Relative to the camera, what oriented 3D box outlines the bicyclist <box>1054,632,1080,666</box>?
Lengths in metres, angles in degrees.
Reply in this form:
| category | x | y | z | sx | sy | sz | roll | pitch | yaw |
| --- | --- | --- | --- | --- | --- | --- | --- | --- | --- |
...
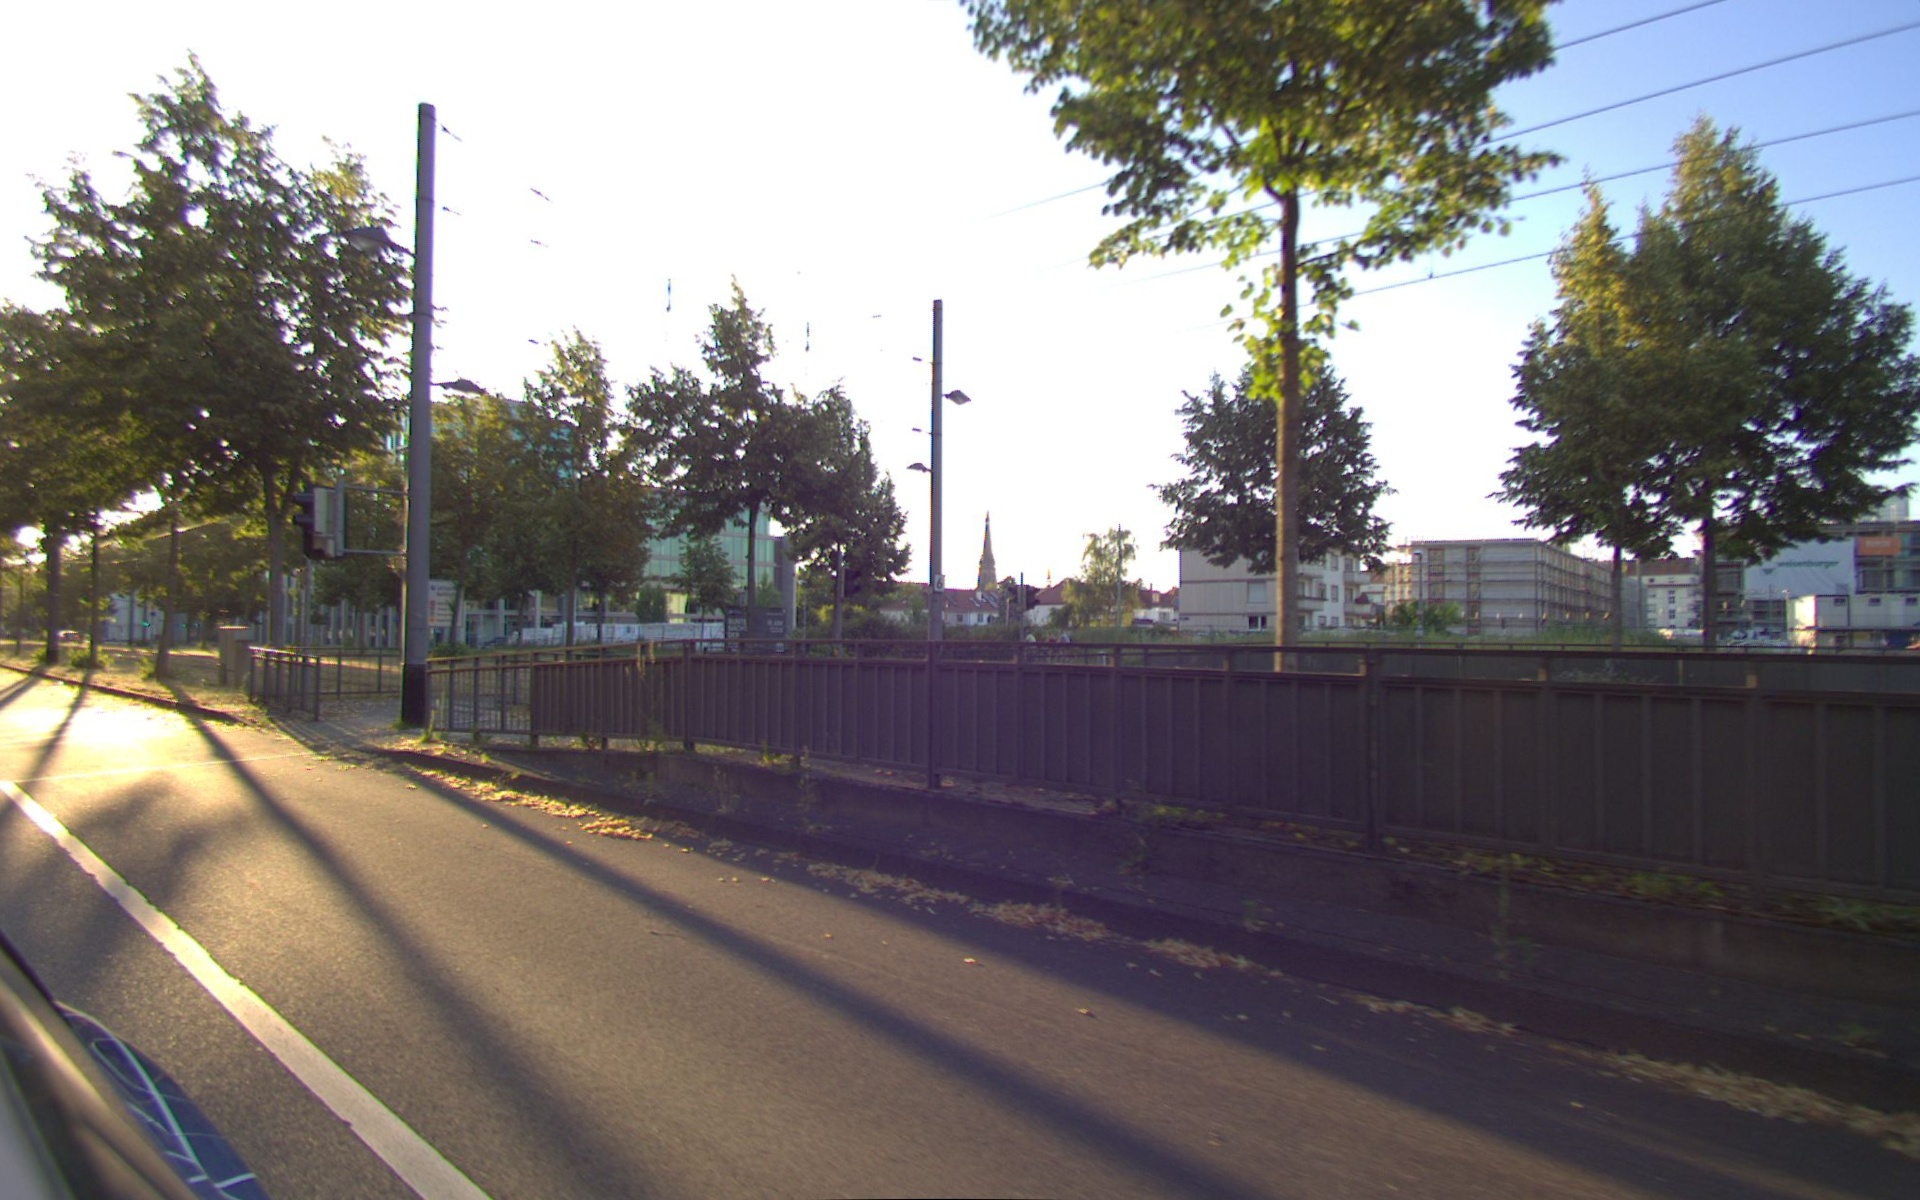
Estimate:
| category | x | y | z | sx | sy | sz | roll | pitch | yaw |
| --- | --- | --- | --- | --- | --- | --- | --- | --- | --- |
| bicyclist | 4.673 | 2.136 | 44.263 | 0.936 | 1.467 | 0.613 | -2 | -3 | 40 |

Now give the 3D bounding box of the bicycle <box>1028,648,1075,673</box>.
| category | x | y | z | sx | sy | sz | roll | pitch | yaw |
| --- | --- | --- | --- | --- | --- | --- | --- | --- | --- |
| bicycle | 3.932 | 2.598 | 43.653 | 2.081 | 1.019 | 0.613 | -2 | -3 | 40 |

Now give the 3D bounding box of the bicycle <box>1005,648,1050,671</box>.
| category | x | y | z | sx | sy | sz | roll | pitch | yaw |
| --- | --- | --- | --- | --- | --- | --- | --- | --- | --- |
| bicycle | 3.084 | 2.710 | 46.236 | 2.081 | 1.019 | 0.613 | -2 | -3 | 40 |

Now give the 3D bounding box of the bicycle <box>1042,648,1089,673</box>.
| category | x | y | z | sx | sy | sz | roll | pitch | yaw |
| --- | --- | --- | --- | --- | --- | --- | --- | --- | --- |
| bicycle | 4.611 | 2.641 | 44.301 | 2.081 | 1.019 | 0.613 | -2 | -3 | 40 |

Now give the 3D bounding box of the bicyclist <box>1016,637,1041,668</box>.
| category | x | y | z | sx | sy | sz | roll | pitch | yaw |
| --- | --- | --- | --- | --- | --- | --- | --- | --- | --- |
| bicyclist | 3.127 | 2.387 | 46.221 | 0.936 | 1.432 | 0.613 | -2 | -3 | 40 |

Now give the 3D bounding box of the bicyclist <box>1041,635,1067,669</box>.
| category | x | y | z | sx | sy | sz | roll | pitch | yaw |
| --- | --- | --- | --- | --- | --- | --- | --- | --- | --- |
| bicyclist | 4.058 | 2.235 | 43.558 | 0.936 | 1.467 | 0.613 | -2 | -3 | 40 |

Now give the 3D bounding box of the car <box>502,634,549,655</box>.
| category | x | y | z | sx | sy | sz | roll | pitch | yaw |
| --- | --- | --- | --- | --- | --- | --- | --- | --- | --- |
| car | -41.442 | 4.242 | 96.526 | 5.082 | 2.029 | 2.183 | -2 | -3 | 42 |

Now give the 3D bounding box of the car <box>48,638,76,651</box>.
| category | x | y | z | sx | sy | sz | roll | pitch | yaw |
| --- | --- | --- | --- | --- | --- | --- | --- | --- | --- |
| car | -110.090 | 5.455 | 124.077 | 4.627 | 1.497 | 1.883 | -2 | -3 | 40 |

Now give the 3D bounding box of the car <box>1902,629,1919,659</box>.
| category | x | y | z | sx | sy | sz | roll | pitch | yaw |
| --- | --- | --- | --- | --- | --- | --- | --- | --- | --- |
| car | 66.829 | 2.955 | 67.970 | 4.752 | 2.029 | 1.980 | -1 | -2 | 29 |
